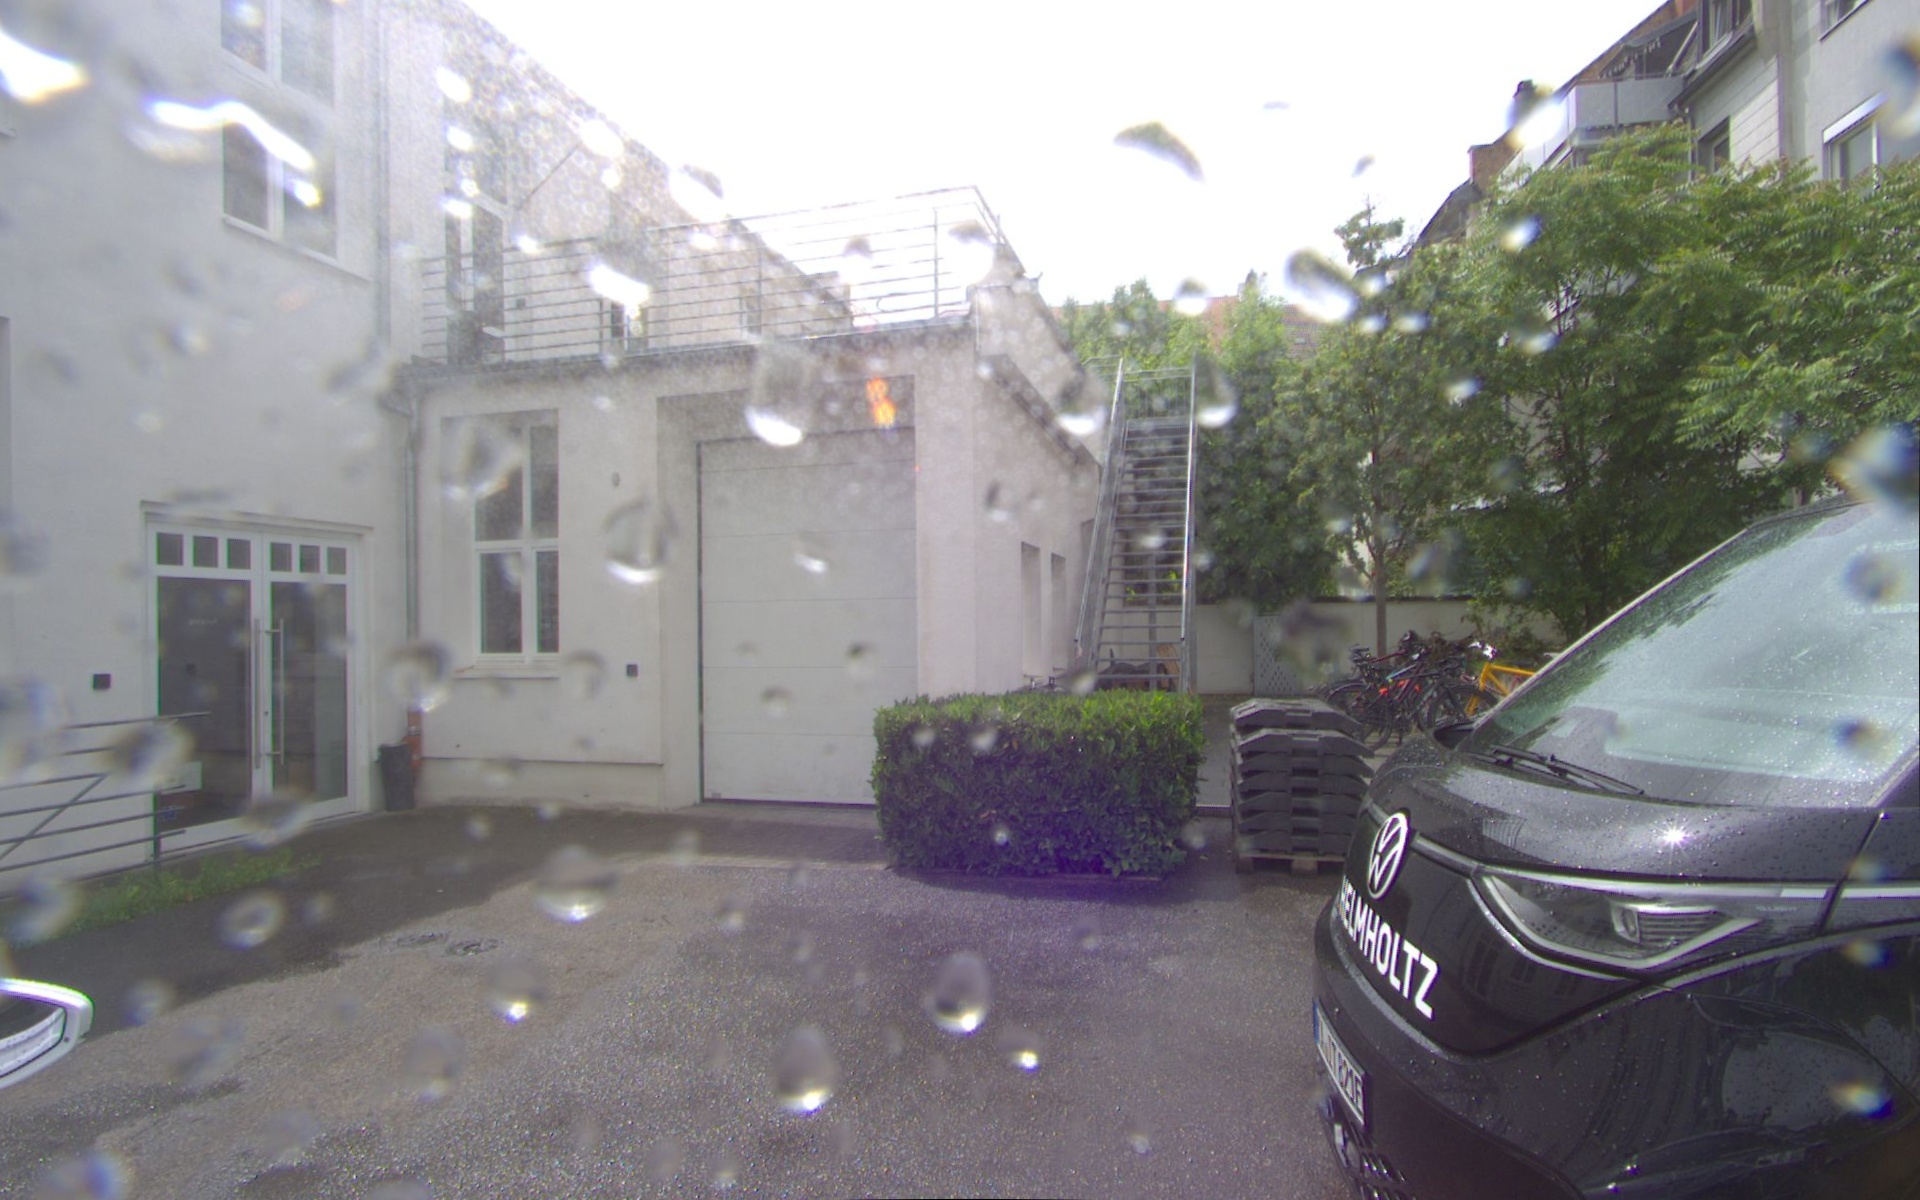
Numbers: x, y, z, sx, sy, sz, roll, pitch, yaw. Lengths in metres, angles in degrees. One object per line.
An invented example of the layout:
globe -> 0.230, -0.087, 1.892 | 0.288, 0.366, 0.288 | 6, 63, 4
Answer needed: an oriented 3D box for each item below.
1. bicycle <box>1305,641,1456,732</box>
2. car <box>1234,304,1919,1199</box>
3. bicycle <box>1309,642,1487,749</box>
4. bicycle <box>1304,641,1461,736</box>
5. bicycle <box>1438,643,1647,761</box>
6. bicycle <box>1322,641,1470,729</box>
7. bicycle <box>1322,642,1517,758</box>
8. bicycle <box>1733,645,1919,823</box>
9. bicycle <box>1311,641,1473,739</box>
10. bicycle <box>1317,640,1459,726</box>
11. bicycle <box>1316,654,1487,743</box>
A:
bicycle -> 5.284, 1.081, 12.632 | 1.722, 1.118, 0.345 | 0, 0, 9
car -> 3.085, 0.555, 1.961 | 4.657, 1.888, 1.971 | -2, -2, 8
bicycle -> 4.791, 1.027, 11.041 | 1.764, 1.118, 0.354 | -1, 0, 17
bicycle -> 5.117, 1.067, 12.173 | 1.722, 1.118, 0.342 | 0, 0, 9
bicycle -> 5.788, 0.994, 10.031 | 1.764, 1.118, 0.366 | -1, 0, 17
bicycle -> 5.677, 1.095, 13.089 | 1.722, 1.118, 0.355 | 0, 0, 9
bicycle -> 4.659, 1.000, 10.241 | 1.764, 1.118, 0.405 | -1, 0, 17
bicycle -> 6.567, 0.931, 7.518 | 0.438, 1.118, 1.795 | -3, -1, 12
bicycle -> 5.076, 1.054, 11.820 | 1.722, 1.118, 0.333 | 0, 0, 9
bicycle -> 5.728, 1.108, 13.461 | 1.722, 1.118, 0.342 | 0, 0, 9
bicycle -> 5.035, 1.111, 11.479 | 1.762, 0.980, 0.330 | 0, 0, 9
